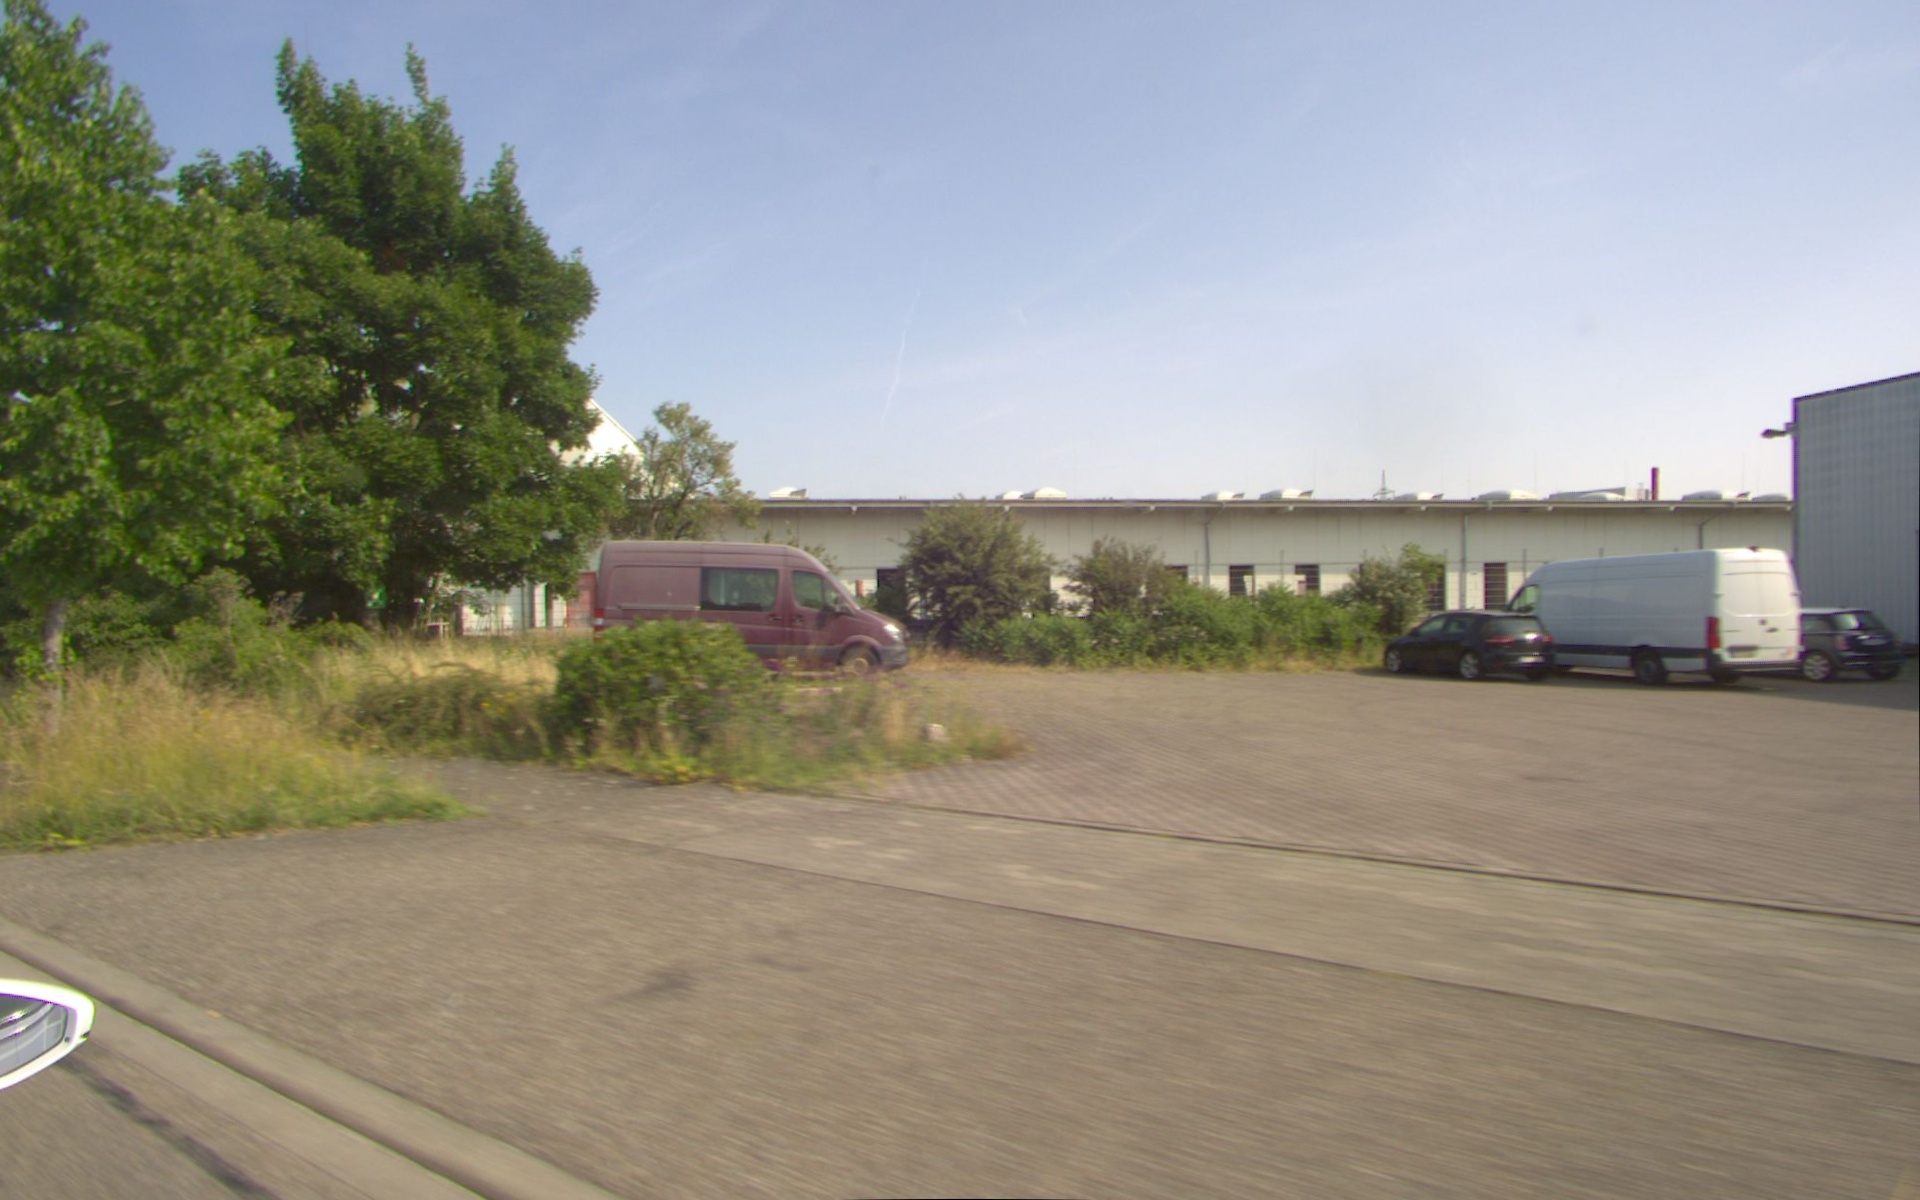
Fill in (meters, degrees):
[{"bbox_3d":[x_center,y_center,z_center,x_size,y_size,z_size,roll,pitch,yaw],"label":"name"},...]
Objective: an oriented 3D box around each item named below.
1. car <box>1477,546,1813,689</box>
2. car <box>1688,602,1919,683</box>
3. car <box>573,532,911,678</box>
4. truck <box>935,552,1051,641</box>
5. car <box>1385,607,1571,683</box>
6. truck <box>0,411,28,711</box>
[{"bbox_3d":[14.160,0.378,21.461,1.969,2.558,6.558,-1,-1,-9],"label":"car"},{"bbox_3d":[17.098,0.880,20.438,1.671,1.489,3.441,1,-3,-9],"label":"car"},{"bbox_3d":[-4.037,0.179,19.312,5.933,2.557,2.575,1,-2,-9],"label":"car"},{"bbox_3d":[0.991,0.003,37.046,2.737,2.877,8.759,-1,-2,-8],"label":"truck"},{"bbox_3d":[11.113,0.911,21.787,1.726,1.491,3.728,1,0,-9],"label":"car"},{"bbox_3d":[-16.040,-0.441,13.960,5.958,4.019,2.686,-1,2,30],"label":"truck"}]
